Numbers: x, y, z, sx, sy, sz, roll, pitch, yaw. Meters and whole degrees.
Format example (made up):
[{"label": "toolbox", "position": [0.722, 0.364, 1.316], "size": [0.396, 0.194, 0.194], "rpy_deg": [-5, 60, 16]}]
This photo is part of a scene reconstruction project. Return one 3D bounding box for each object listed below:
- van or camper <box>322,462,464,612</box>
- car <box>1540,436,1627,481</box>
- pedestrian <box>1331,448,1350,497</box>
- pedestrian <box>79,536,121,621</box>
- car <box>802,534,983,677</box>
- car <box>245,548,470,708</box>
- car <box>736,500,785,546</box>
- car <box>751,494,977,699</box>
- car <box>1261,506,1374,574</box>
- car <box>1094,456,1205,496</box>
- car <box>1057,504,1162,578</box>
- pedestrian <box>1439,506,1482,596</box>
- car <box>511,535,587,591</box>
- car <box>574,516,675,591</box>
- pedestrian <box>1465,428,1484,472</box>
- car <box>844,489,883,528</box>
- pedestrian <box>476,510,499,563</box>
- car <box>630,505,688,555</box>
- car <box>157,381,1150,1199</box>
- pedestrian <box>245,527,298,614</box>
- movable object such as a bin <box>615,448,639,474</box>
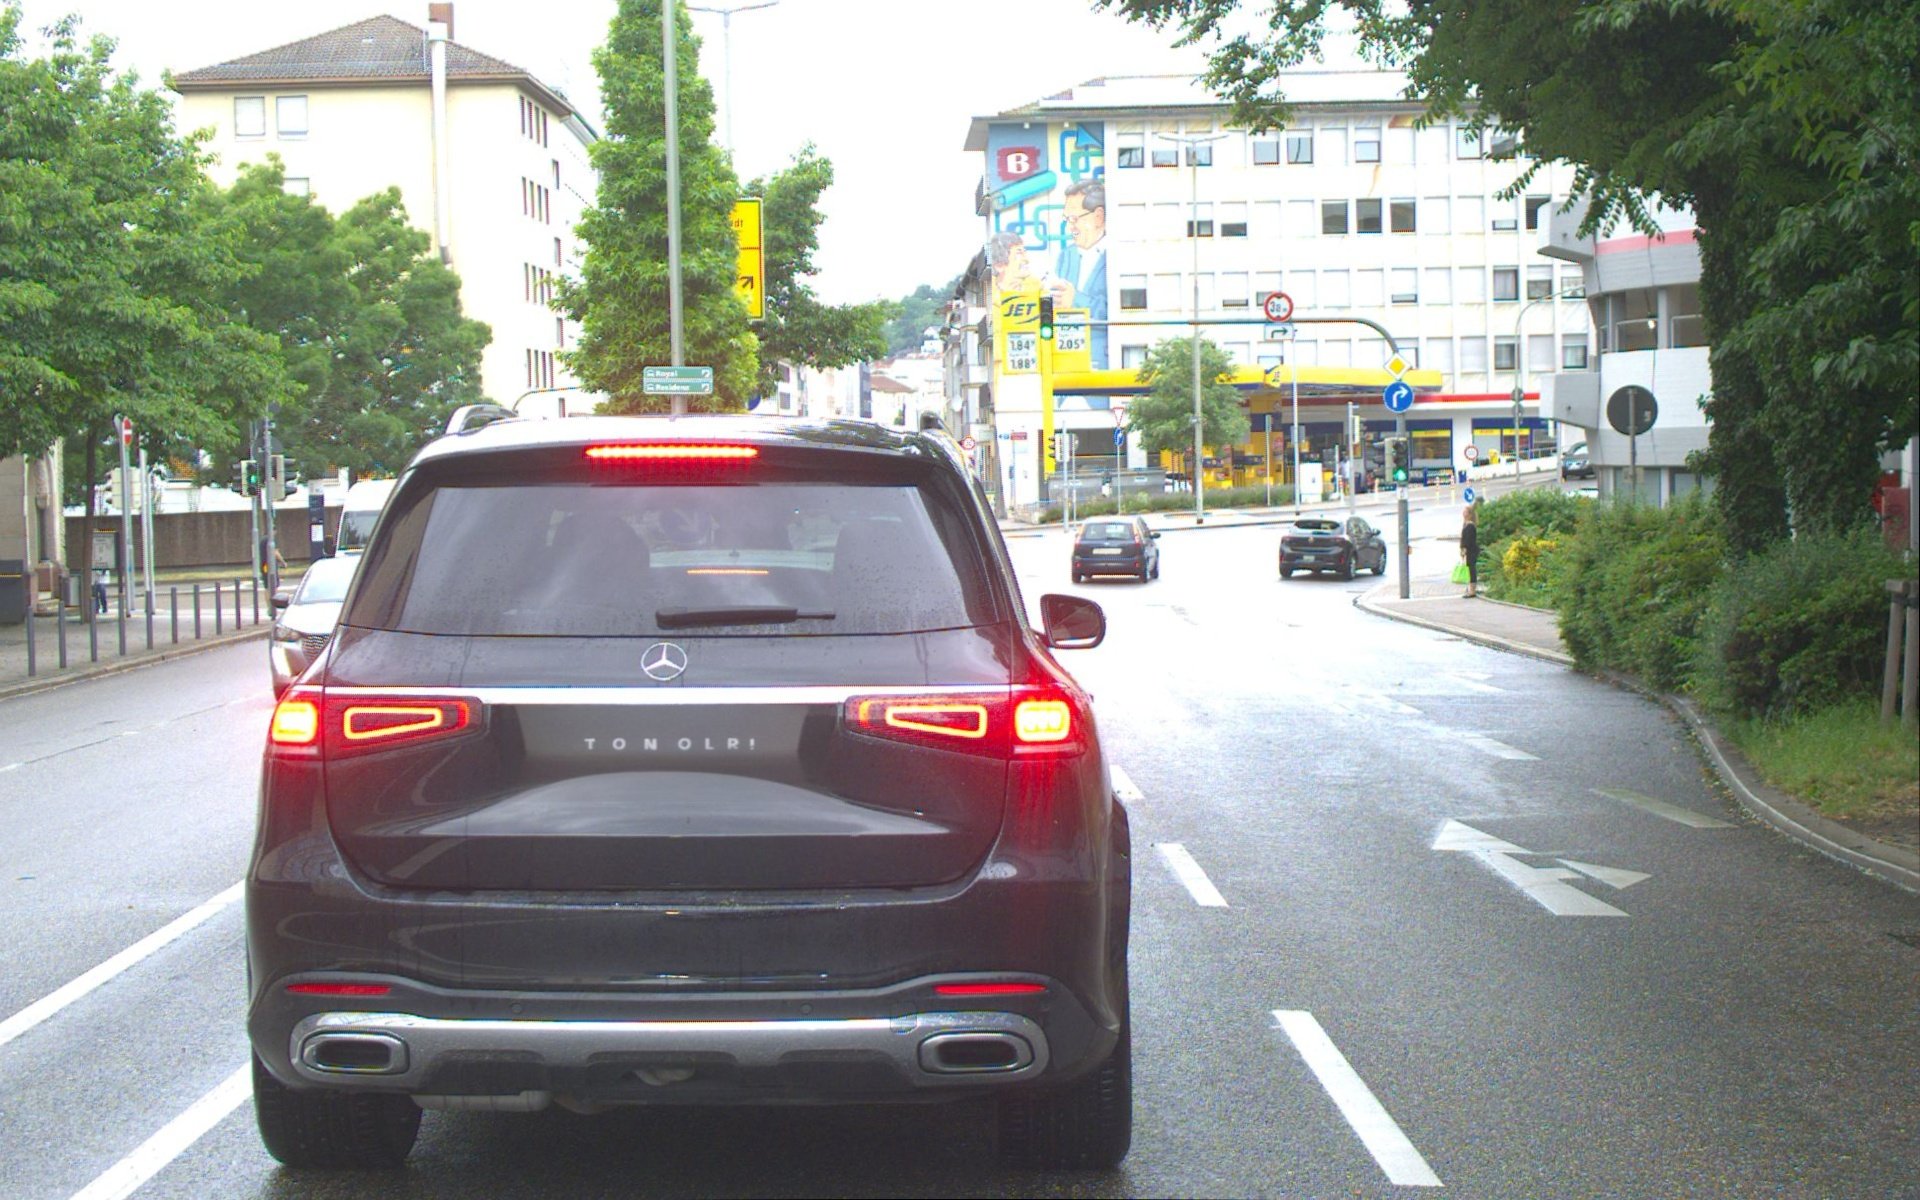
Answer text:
[{"label": "van or camper", "position": [-10.524, -1.171, 64.224], "size": [2.101, 2.573, 5.909], "rpy_deg": [-3, 1, -5]}, {"label": "car", "position": [25.099, -5.701, 138.347], "size": [1.997, 1.700, 3.993], "rpy_deg": [0, 2, 33]}, {"label": "pedestrian", "position": [13.285, -4.440, 120.078], "size": [0.572, 1.691, 0.631], "rpy_deg": [1, 0, 1]}, {"label": "pedestrian", "position": [-17.016, -0.422, 68.037], "size": [0.642, 1.660, 1.019], "rpy_deg": [1, 0, -6]}, {"label": "car", "position": [-0.742, 0.041, 38.574], "size": [1.907, 1.496, 4.000], "rpy_deg": [1, 1, -1]}, {"label": "car", "position": [-6.128, 0.240, 35.354], "size": [1.741, 1.465, 3.883], "rpy_deg": [-3, 1, -3]}, {"label": "car", "position": [-8.197, -3.160, 141.492], "size": [1.868, 1.833, 3.820], "rpy_deg": [1, 1, -2]}, {"label": "car", "position": [-0.879, -0.053, 32.616], "size": [1.993, 1.794, 4.000], "rpy_deg": [1, 1, -1]}, {"label": "car", "position": [8.258, -1.365, 79.152], "size": [1.947, 1.481, 3.997], "rpy_deg": [1, 1, 16]}, {"label": "car", "position": [7.056, -4.612, 128.510], "size": [1.732, 1.371, 3.998], "rpy_deg": [-4, 3, -44]}, {"label": "car", "position": [3.307, -1.317, 75.497], "size": [1.797, 1.520, 4.054], "rpy_deg": [1, 2, 9]}, {"label": "pedestrian", "position": [9.518, -0.934, 65.348], "size": [0.646, 1.704, 0.470], "rpy_deg": [1, 0, 36]}, {"label": "car", "position": [-11.194, -1.013, 93.765], "size": [1.797, 1.489, 3.804], "rpy_deg": [1, 1, -3]}, {"label": "car", "position": [-7.186, -1.013, 74.001], "size": [1.883, 1.492, 4.563], "rpy_deg": [-2, 1, -3]}, {"label": "pedestrian", "position": [20.461, -5.971, 136.796], "size": [0.526, 1.721, 0.688], "rpy_deg": [0, 2, 26]}, {"label": "car", "position": [-5.226, -4.949, 186.376], "size": [1.993, 2.007, 4.000], "rpy_deg": [1, 1, 0]}, {"label": "pedestrian", "position": [-15.677, -2.108, 114.005], "size": [0.648, 1.721, 0.629], "rpy_deg": [-2, 2, -4]}, {"label": "car", "position": [-10.682, -2.473, 122.179], "size": [1.905, 1.697, 4.001], "rpy_deg": [1, 1, -3]}, {"label": "car", "position": [-0.645, 0.446, 8.974], "size": [1.993, 1.794, 4.000], "rpy_deg": [1, 1, -1]}, {"label": "pedestrian", "position": [-13.550, -0.576, 67.648], "size": [0.946, 1.699, 0.713], "rpy_deg": [1, 0, -17]}, {"label": "movable object such as a bin", "position": [-13.660, -5.695, 141.089], "size": [0.910, 1.034, 0.844], "rpy_deg": [1, 0, 1]}]
